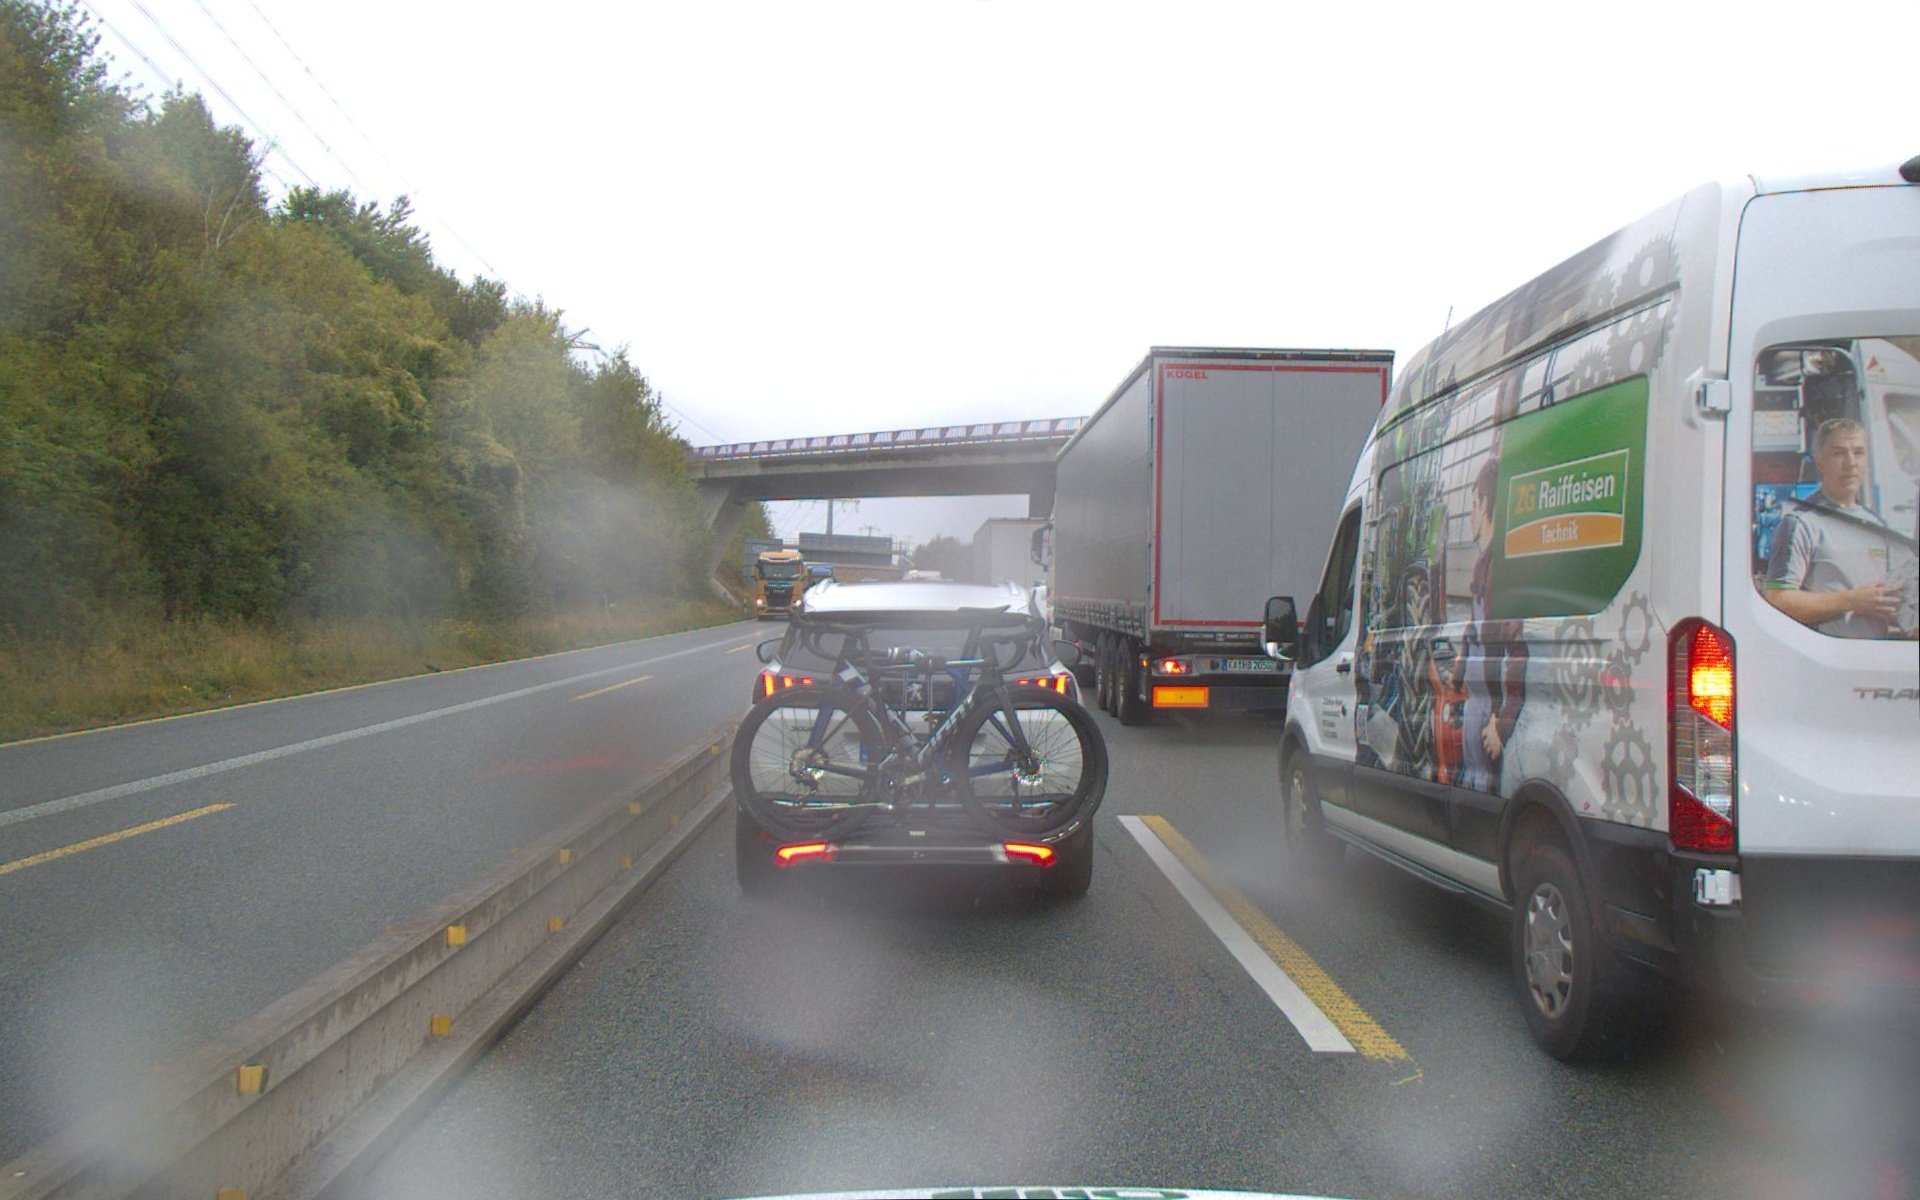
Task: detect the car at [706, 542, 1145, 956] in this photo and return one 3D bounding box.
[{"bbox_3d":[-0.119,0.619,9.073,1.773,1.666,4.635,1,0,0],"label":"car"}]

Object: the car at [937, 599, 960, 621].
[{"bbox_3d":[-0.844,0.722,119.941,1.605,1.524,3.665,1,0,-1],"label":"car"}]

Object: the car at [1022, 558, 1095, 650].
[{"bbox_3d":[2.474,0.113,42.435,1.635,2.218,4.535,1,0,0],"label":"car"}]

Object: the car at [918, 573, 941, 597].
[{"bbox_3d":[-2.659,-1.323,146.568,1.953,2.049,3.999,1,0,-1],"label":"car"}]

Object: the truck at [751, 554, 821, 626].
[{"bbox_3d":[-9.565,-0.484,92.161,2.627,3.720,12.309,1,0,0],"label":"truck"}]

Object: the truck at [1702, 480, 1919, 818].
[{"bbox_3d":[10.288,0.473,15.493,2.469,3.186,9.117,1,0,-1],"label":"truck"}]

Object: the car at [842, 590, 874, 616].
[{"bbox_3d":[-6.706,0.216,108.894,1.896,1.635,4.119,1,0,-1],"label":"car"}]

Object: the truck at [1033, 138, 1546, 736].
[{"bbox_3d":[3.673,-1.544,26.292,3.898,5.772,20.372,1,0,0],"label":"truck"}]

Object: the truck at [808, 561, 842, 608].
[{"bbox_3d":[-12.831,-1.369,156.343,2.712,4.195,16.905,1,0,-6],"label":"truck"}]

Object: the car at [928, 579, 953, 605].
[{"bbox_3d":[-1.593,-0.649,132.707,1.953,2.049,3.999,1,0,-1],"label":"car"}]

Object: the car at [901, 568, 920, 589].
[{"bbox_3d":[-5.451,-2.353,183.293,1.953,2.164,4.526,1,0,-1],"label":"car"}]

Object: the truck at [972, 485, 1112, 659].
[{"bbox_3d":[2.855,-0.901,65.865,4.645,5.772,20.376,1,0,1],"label":"truck"}]

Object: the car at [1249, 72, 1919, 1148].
[{"bbox_3d":[2.921,0.046,7.271,2.101,2.723,6.115,1,0,-1],"label":"car"}]

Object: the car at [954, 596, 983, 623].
[{"bbox_3d":[0.449,0.559,95.322,1.605,1.524,3.665,1,0,-1],"label":"car"}]

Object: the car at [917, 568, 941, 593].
[{"bbox_3d":[-2.983,-1.883,159.554,2.193,2.348,4.571,1,0,-1],"label":"car"}]

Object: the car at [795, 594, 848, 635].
[{"bbox_3d":[-5.232,0.547,62.747,1.744,1.469,4.326,1,0,-2],"label":"car"}]
